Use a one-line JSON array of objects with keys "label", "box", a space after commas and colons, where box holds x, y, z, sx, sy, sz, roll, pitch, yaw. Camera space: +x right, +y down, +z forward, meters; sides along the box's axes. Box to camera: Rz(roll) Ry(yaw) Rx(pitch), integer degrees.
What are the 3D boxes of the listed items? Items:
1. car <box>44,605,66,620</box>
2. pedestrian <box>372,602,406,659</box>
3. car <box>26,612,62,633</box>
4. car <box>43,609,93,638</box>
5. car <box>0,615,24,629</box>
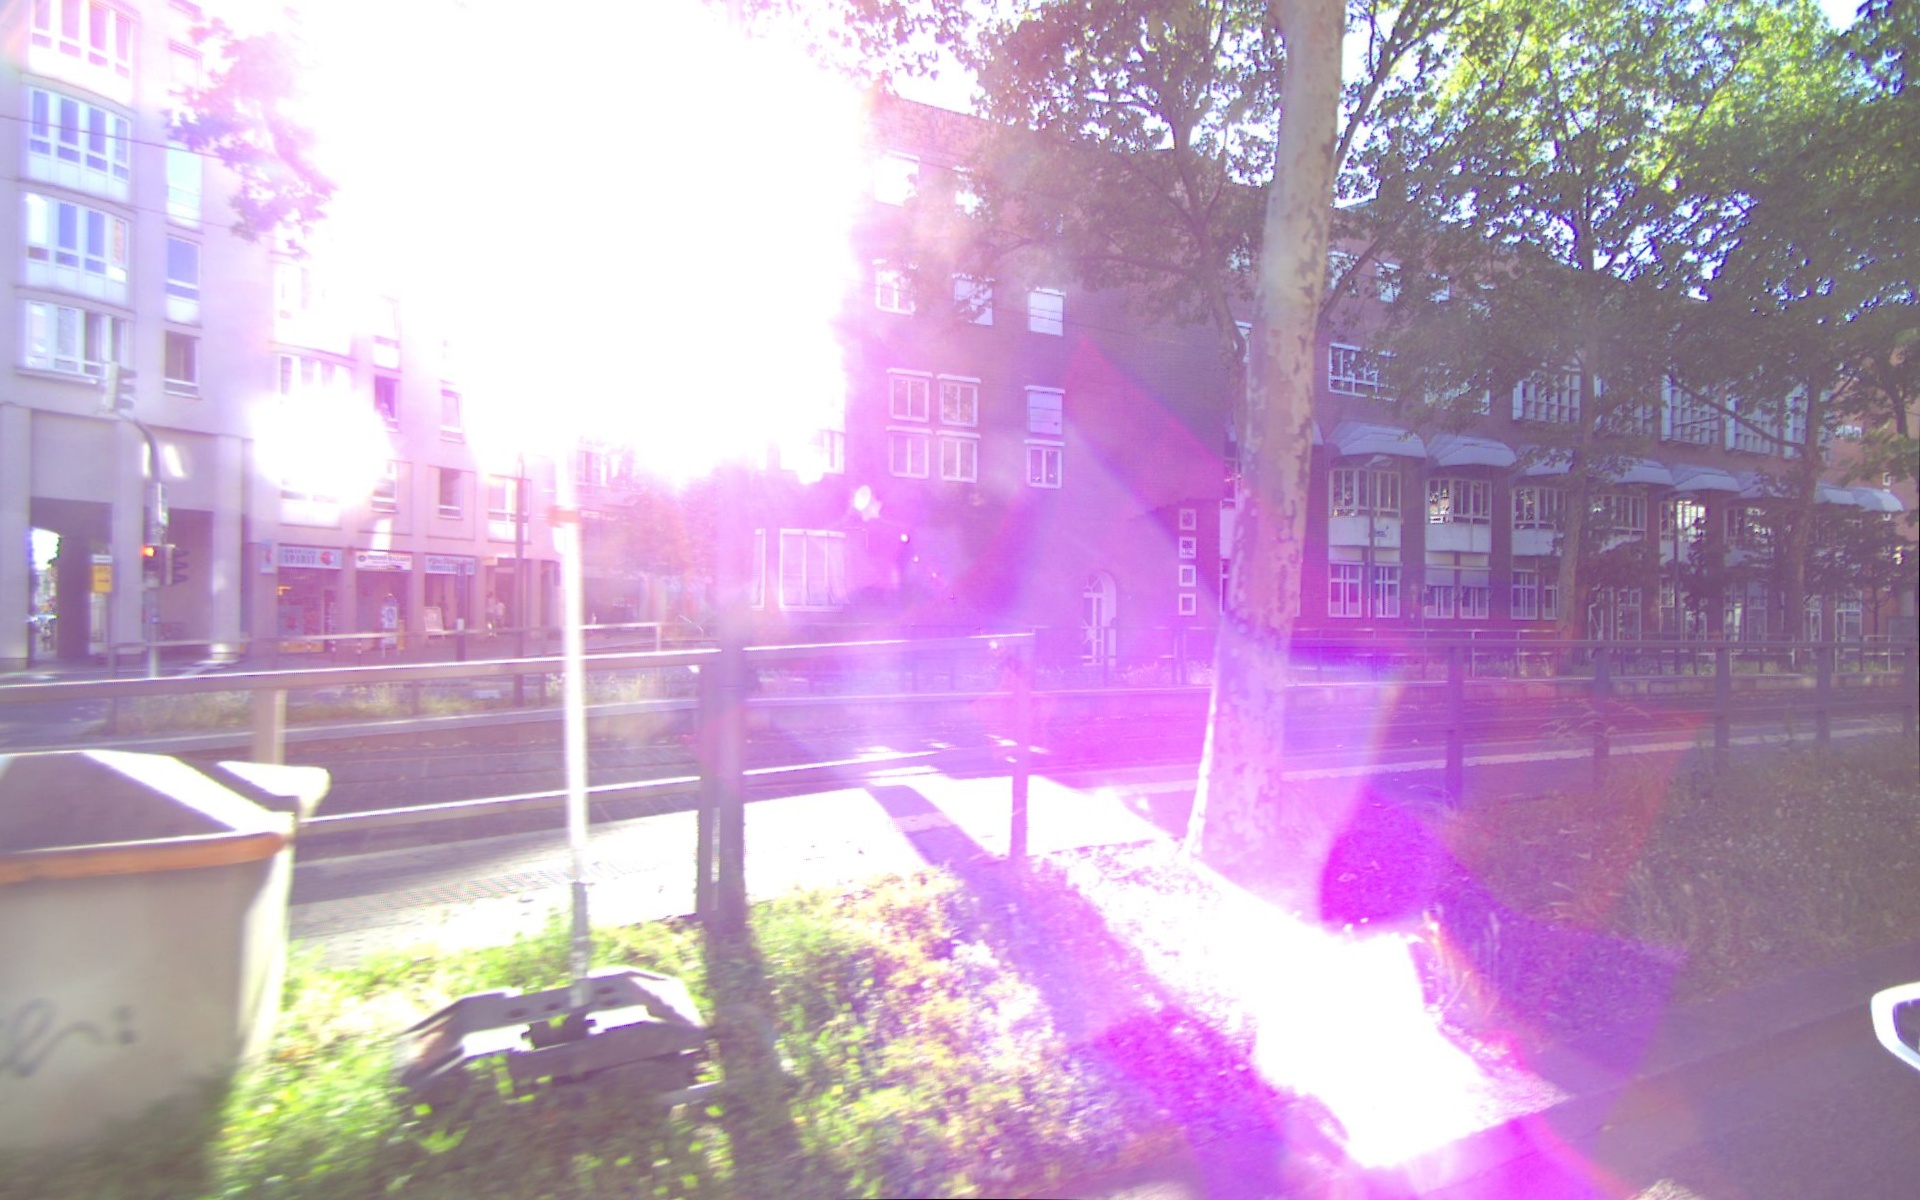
[{"label": "car", "box": [-112.535, 1.555, 124.929, 1.803, 1.864, 3.953, 2, -1, -41]}, {"label": "pedestrian", "box": [-19.997, 1.065, 35.183, 0.810, 1.968, 0.757, 1, -1, -12]}, {"label": "car", "box": [-66.504, 1.622, 72.978, 1.672, 1.413, 3.613, 2, -1, -39]}, {"label": "car", "box": [-55.640, 1.464, 62.708, 1.881, 1.752, 3.618, 1, -1, -36]}, {"label": "car", "box": [-99.953, 2.276, 105.789, 1.672, 1.413, 3.613, 2, -1, -39]}]
